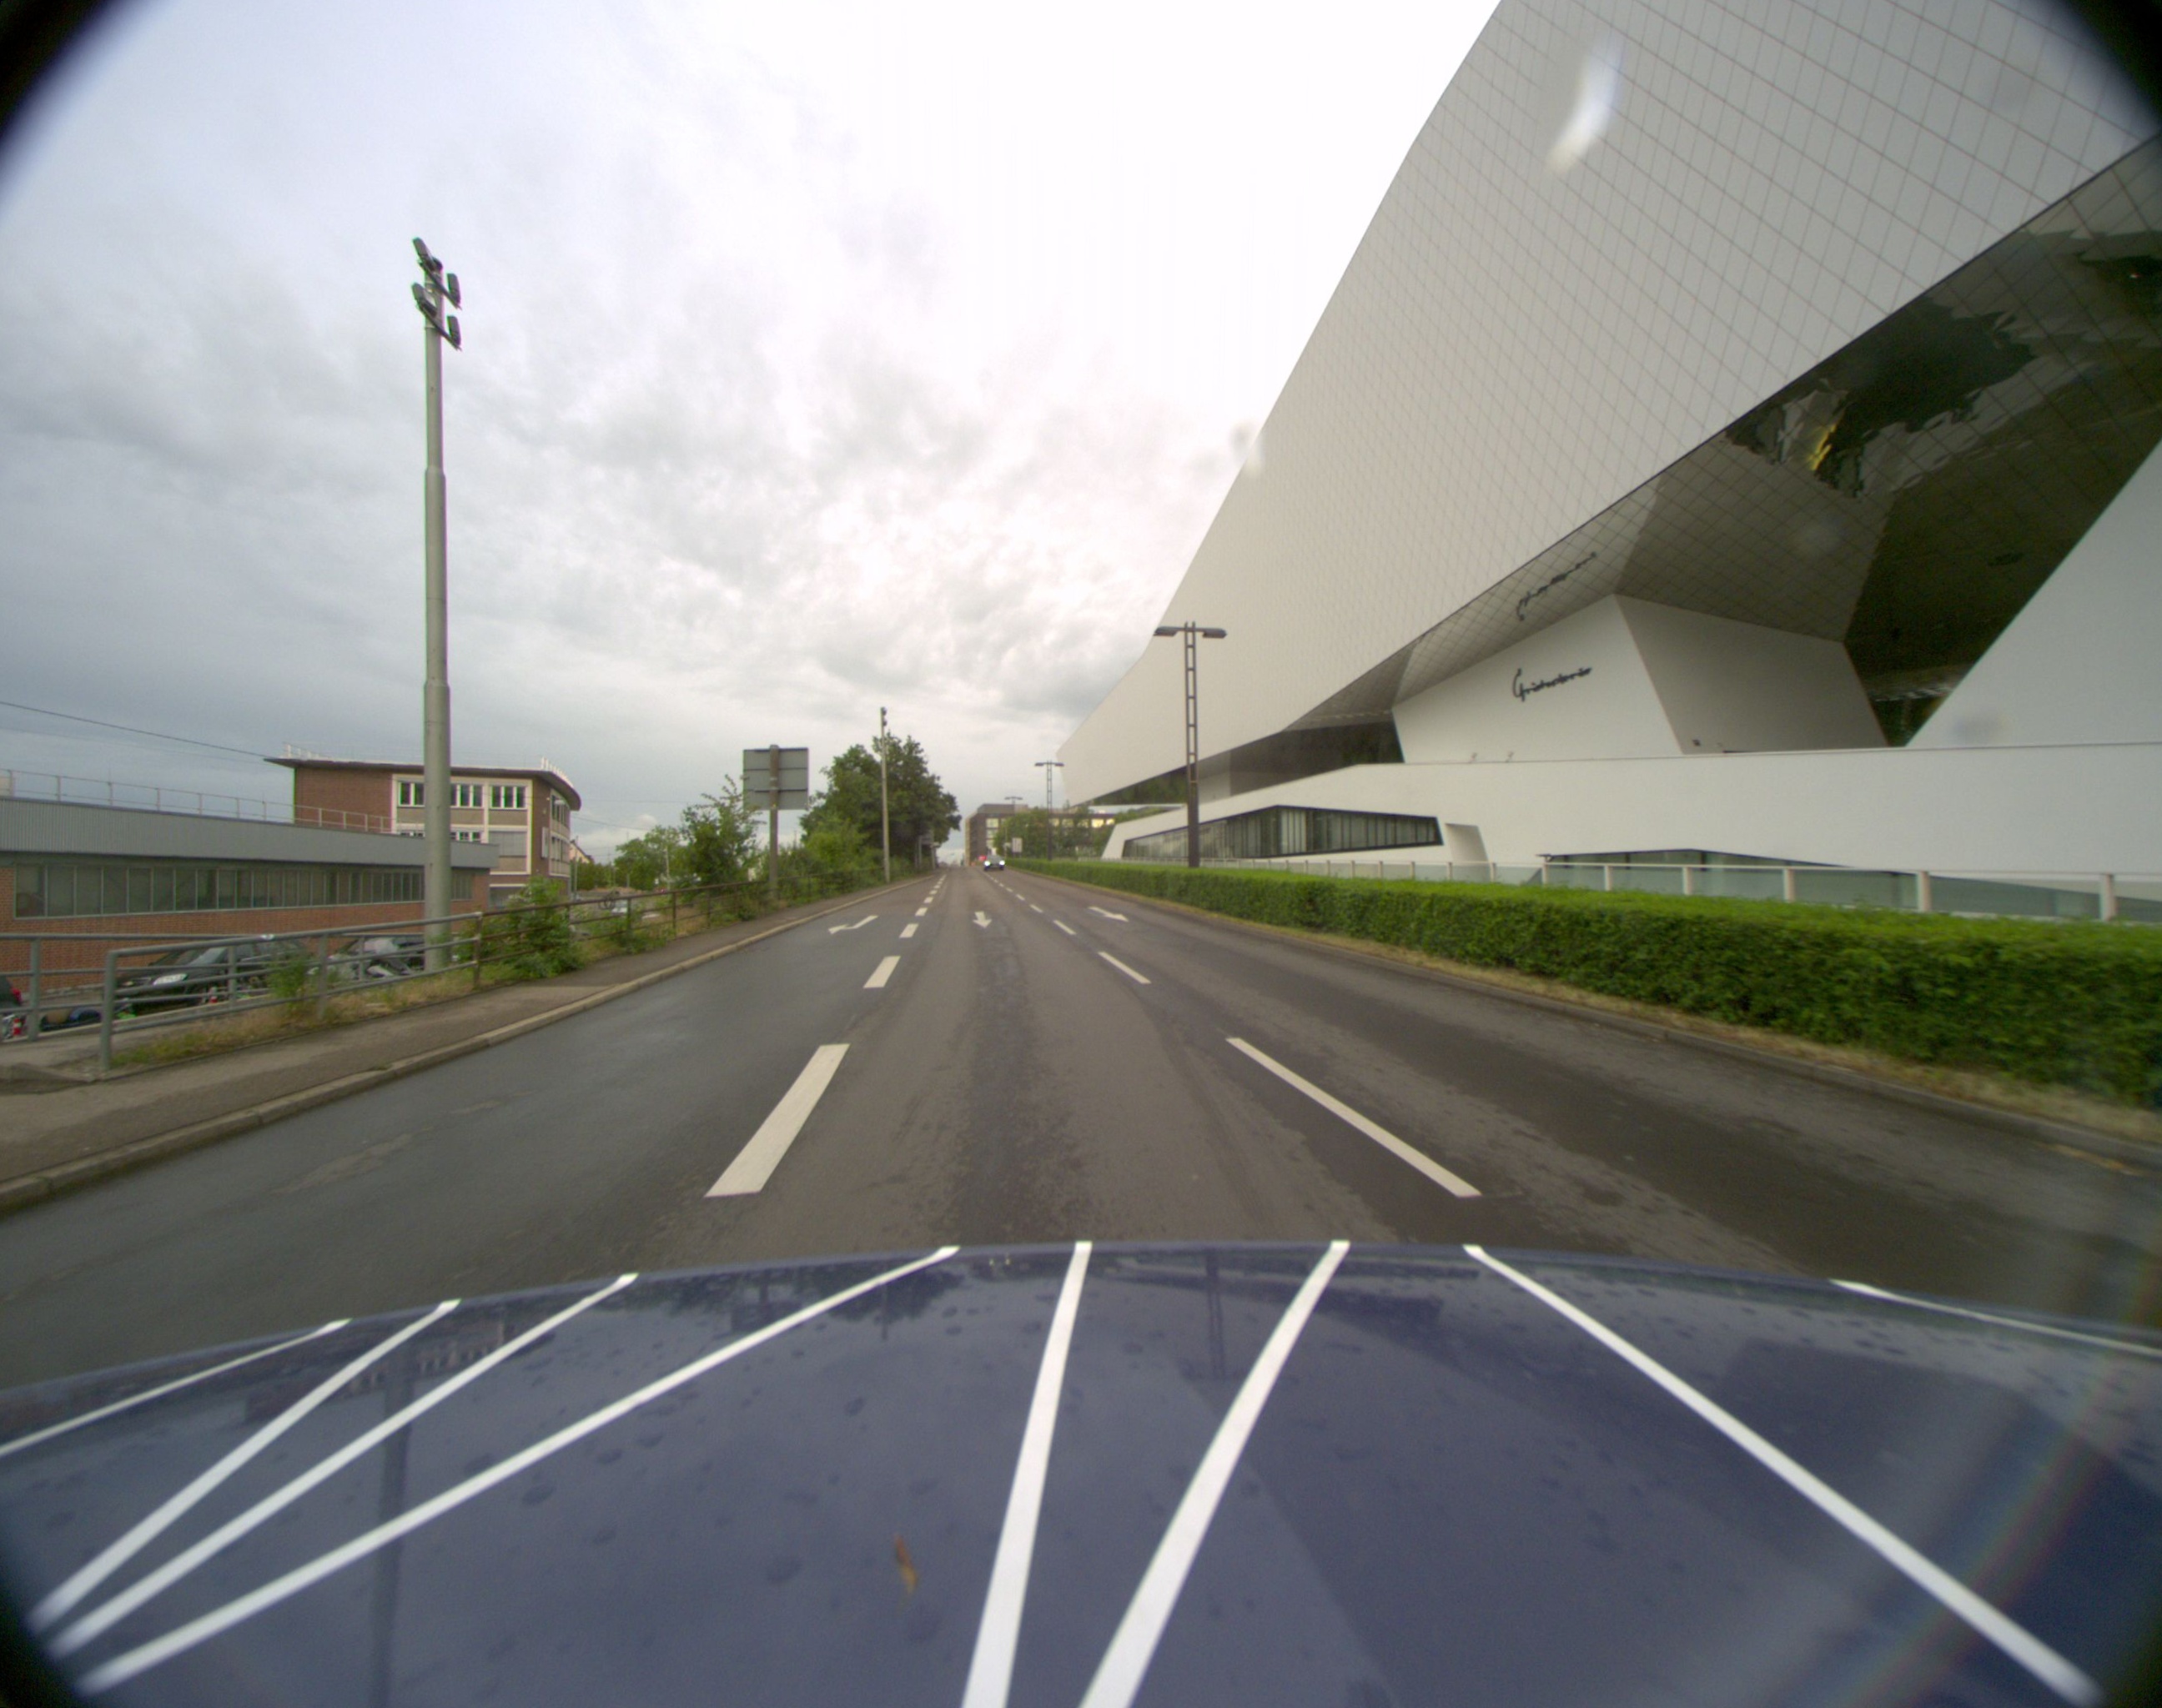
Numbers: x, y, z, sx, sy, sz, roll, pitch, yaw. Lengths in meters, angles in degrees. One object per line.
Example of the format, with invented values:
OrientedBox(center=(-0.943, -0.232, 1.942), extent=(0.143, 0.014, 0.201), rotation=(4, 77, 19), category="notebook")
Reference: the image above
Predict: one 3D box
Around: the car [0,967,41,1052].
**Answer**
OrientedBox(center=(-22.501, 3.209, 13.952), extent=(1.703, 1.618, 3.927), rotation=(-1, 0, -9), category="car")

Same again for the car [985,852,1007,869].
OrientedBox(center=(-8.493, 0.609, 75.447), extent=(1.843, 1.574, 4.285), rotation=(-1, 0, -11), category="car")

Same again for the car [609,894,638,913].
OrientedBox(center=(-39.475, 4.263, 65.590), extent=(1.670, 1.387, 3.992), rotation=(-2, 0, -25), category="car")

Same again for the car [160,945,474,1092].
OrientedBox(center=(-12.261, 2.533, 12.613), extent=(1.703, 1.546, 3.854), rotation=(-1, 0, -9), category="car")

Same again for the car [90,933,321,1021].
OrientedBox(center=(-23.538, 3.228, 20.739), extent=(1.638, 1.621, 4.426), rotation=(-1, 0, -9), category="car")

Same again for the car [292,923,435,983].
OrientedBox(center=(-24.717, 3.347, 26.387), extent=(1.703, 1.546, 3.854), rotation=(-1, 0, -9), category="car")

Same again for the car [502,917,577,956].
OrientedBox(center=(-28.289, 4.277, 39.825), extent=(1.704, 1.546, 3.853), rotation=(-1, 0, -11), category="car")
